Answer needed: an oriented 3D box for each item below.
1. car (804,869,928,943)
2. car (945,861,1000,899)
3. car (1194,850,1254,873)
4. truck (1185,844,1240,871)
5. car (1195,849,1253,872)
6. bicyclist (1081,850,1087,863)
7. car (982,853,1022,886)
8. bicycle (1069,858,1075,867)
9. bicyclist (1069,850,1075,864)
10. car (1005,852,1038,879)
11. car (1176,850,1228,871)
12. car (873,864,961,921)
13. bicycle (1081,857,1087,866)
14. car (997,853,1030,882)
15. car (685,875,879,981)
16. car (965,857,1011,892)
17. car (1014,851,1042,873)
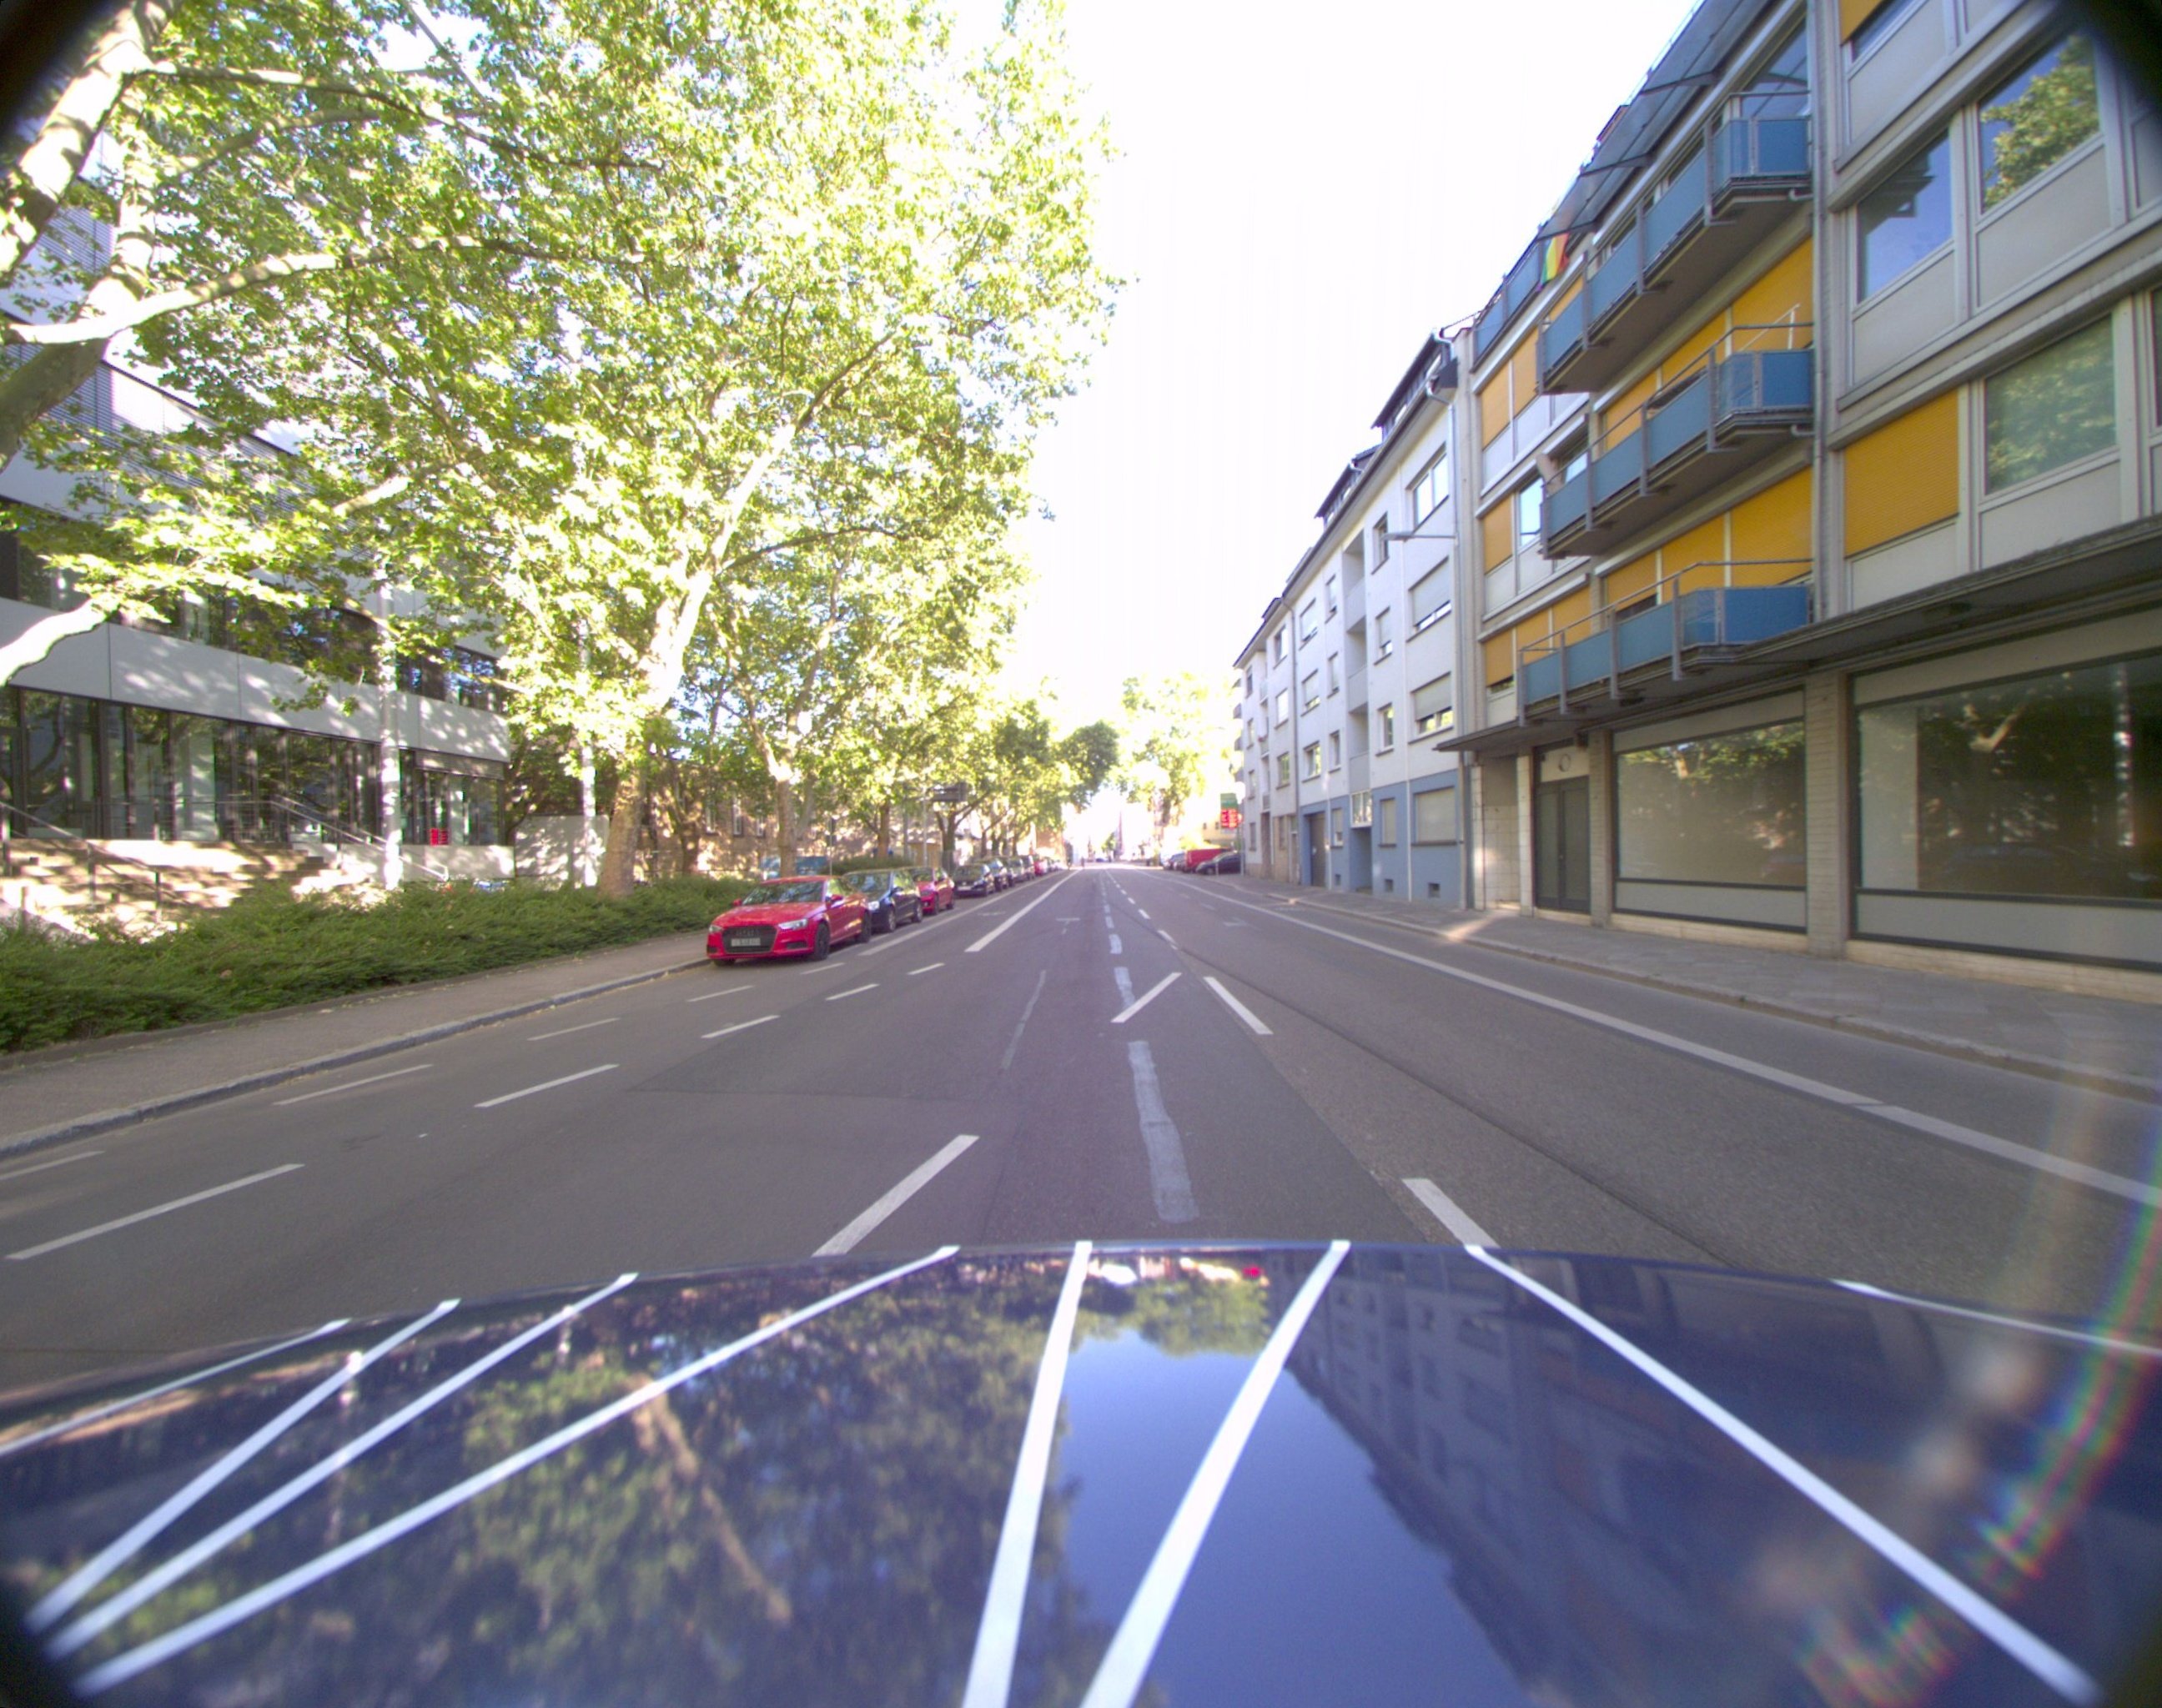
[{"bbox_3d":[-5.085,1.172,18.593,1.818,1.405,4.163,-3,0,0],"label":"car"},{"bbox_3d":[-4.705,1.080,33.403,1.790,1.451,4.163,-3,0,0],"label":"car"},{"bbox_3d":[10.249,0.550,54.813,3.996,1.449,1.761,-2,1,2],"label":"car"},{"bbox_3d":[10.362,0.249,60.010,3.996,1.925,1.761,-2,1,2],"label":"truck"},{"bbox_3d":[10.723,0.483,57.161,3.996,1.494,1.761,-2,1,2],"label":"car"},{"bbox_3d":[0.340,0.320,92.593,0.718,1.573,0.936,-2,1,1],"label":"bicyclist"},{"bbox_3d":[-4.528,0.872,44.166,1.790,1.745,4.345,-3,0,0],"label":"car"},{"bbox_3d":[-1.077,1.039,91.845,0.717,1.052,2.485,-2,1,1],"label":"bicycle"},{"bbox_3d":[-1.093,0.365,91.633,0.718,1.573,0.936,-2,1,1],"label":"bicyclist"},{"bbox_3d":[-4.322,0.800,55.680,2.042,1.745,4.552,-3,0,0],"label":"car"},{"bbox_3d":[9.972,0.530,62.863,3.996,1.494,1.761,-2,1,2],"label":"car"},{"bbox_3d":[-5.032,1.126,23.877,1.818,1.475,4.163,-3,0,0],"label":"car"},{"bbox_3d":[0.368,0.923,92.702,0.717,1.052,2.485,-2,1,1],"label":"bicycle"},{"bbox_3d":[-4.451,0.856,50.721,1.790,1.745,4.552,-3,0,0],"label":"car"},{"bbox_3d":[-5.140,1.194,13.737,1.818,1.405,4.163,-3,0,0],"label":"car"},{"bbox_3d":[-4.605,0.981,38.149,1.790,1.544,4.163,-3,0,0],"label":"car"},{"bbox_3d":[-4.597,0.704,66.110,2.042,1.745,4.552,-3,0,0],"label":"car"}]
